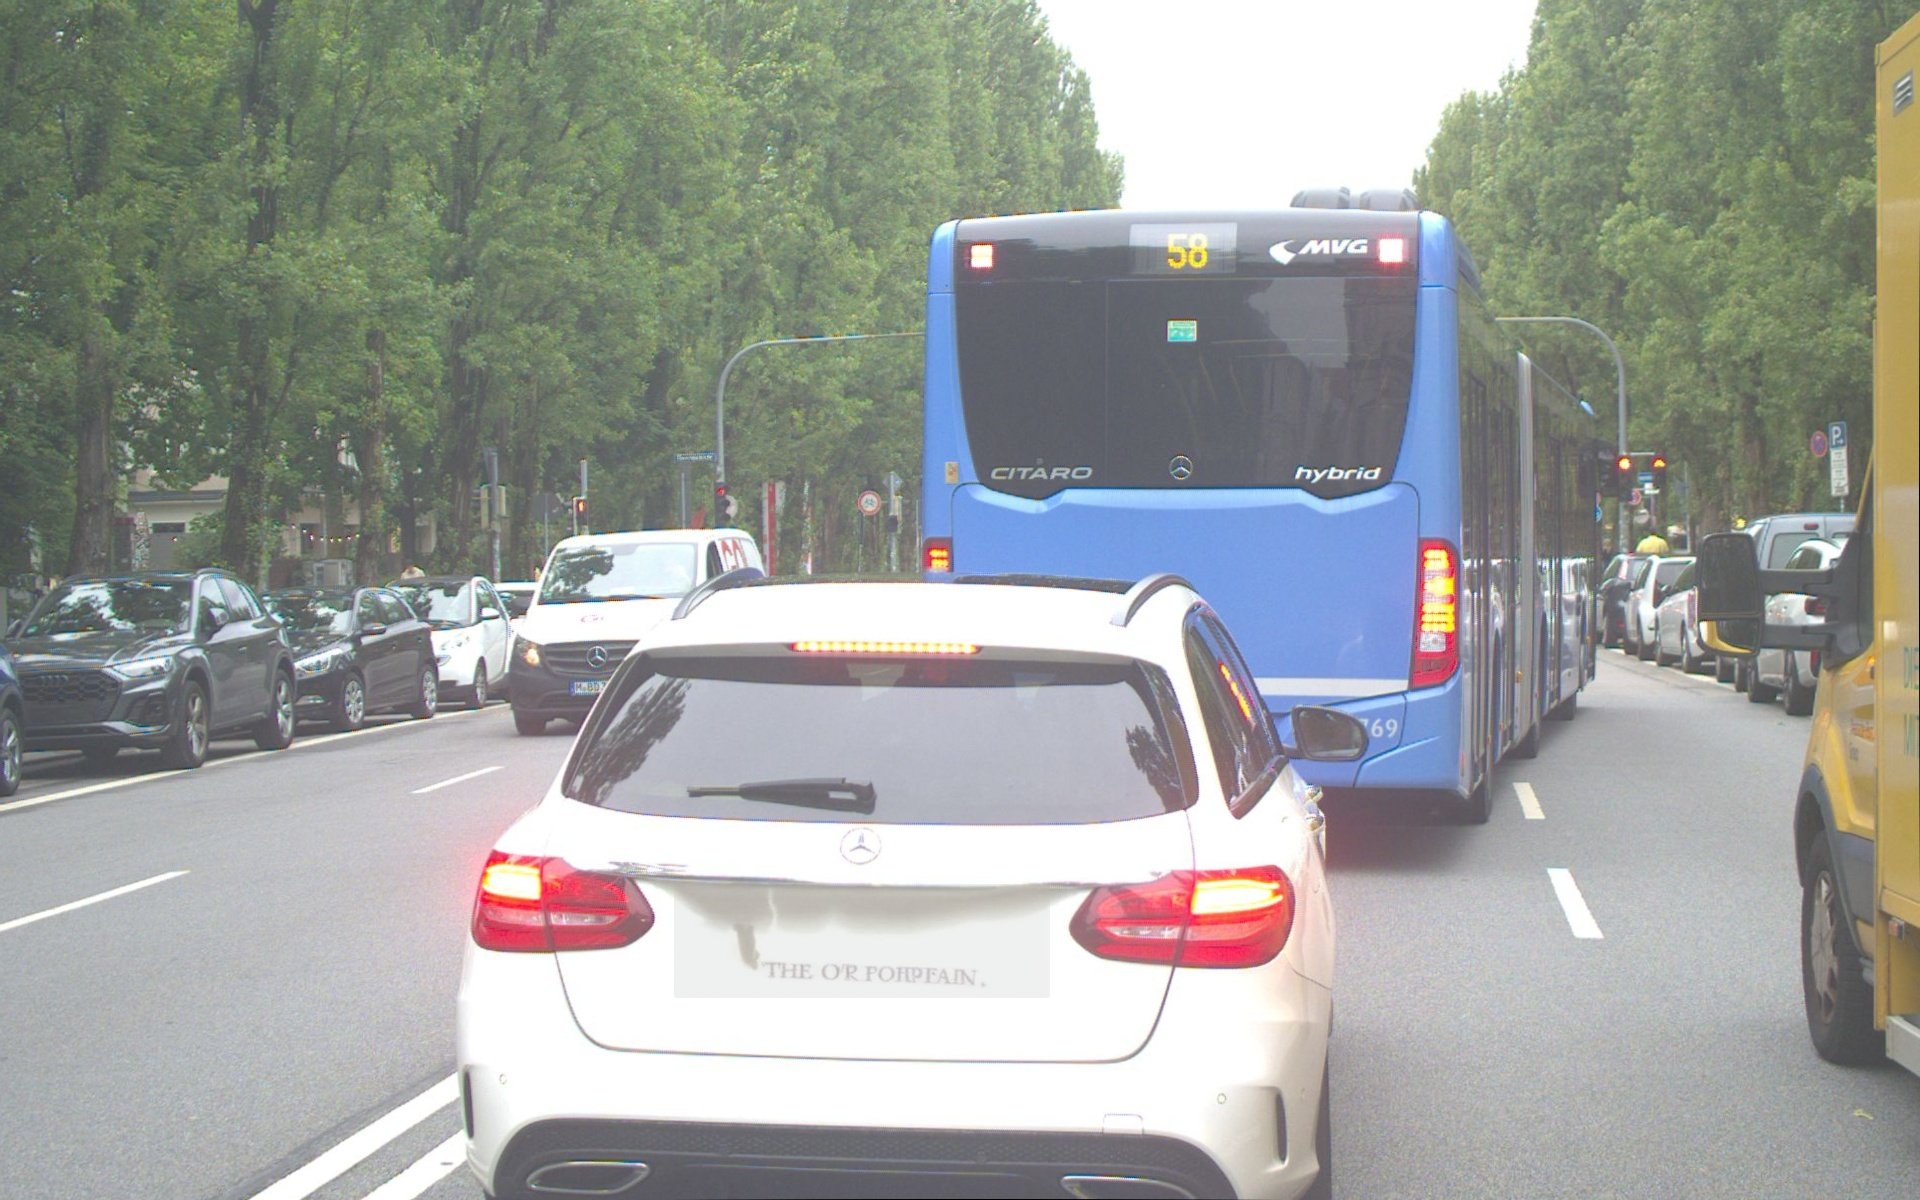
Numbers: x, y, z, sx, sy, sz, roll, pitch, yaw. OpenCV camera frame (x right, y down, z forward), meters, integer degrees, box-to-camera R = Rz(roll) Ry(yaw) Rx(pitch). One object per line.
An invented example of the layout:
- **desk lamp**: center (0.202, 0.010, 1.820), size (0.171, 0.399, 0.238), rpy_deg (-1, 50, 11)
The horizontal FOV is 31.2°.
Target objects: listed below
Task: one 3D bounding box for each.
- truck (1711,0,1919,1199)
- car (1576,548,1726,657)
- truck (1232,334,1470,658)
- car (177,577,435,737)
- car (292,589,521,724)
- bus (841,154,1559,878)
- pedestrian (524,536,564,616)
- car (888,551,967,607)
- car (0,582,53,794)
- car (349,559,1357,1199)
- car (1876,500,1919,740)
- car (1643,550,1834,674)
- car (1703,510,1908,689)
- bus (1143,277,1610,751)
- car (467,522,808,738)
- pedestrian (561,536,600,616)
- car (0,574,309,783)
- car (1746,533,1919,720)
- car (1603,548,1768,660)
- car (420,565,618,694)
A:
- **truck**: center (3.326, -0.068, 7.436), size (2.328, 2.888, 7.332), rpy_deg (-1, 1, 5)
- **car**: center (10.792, 0.013, 53.913), size (1.809, 1.612, 4.000), rpy_deg (-1, 1, 5)
- **truck**: center (5.181, -1.353, 46.984), size (2.716, 3.952, 9.217), rpy_deg (-1, 1, 4)
- **car**: center (-6.659, 0.544, 35.357), size (1.539, 1.428, 3.869), rpy_deg (-4, 0, 5)
- **car**: center (-6.365, 0.619, 39.939), size (1.675, 1.408, 3.999), rpy_deg (-1, 1, 5)
- **bus**: center (1.826, -0.451, 19.955), size (2.857, 3.202, 9.055), rpy_deg (0, 1, 12)
- **pedestrian**: center (-10.512, -0.607, 86.840), size (0.830, 2.007, 0.778), rpy_deg (-1, 1, 4)
- **car**: center (-0.891, -0.604, 96.581), size (1.822, 1.481, 3.999), rpy_deg (-1, 1, 5)
- **car**: center (-7.799, 0.683, 24.032), size (1.743, 1.513, 4.118), rpy_deg (-3, 1, 0)
- **car**: center (0.029, 0.629, 8.462), size (1.826, 1.449, 4.582), rpy_deg (0, 1, 6)
- **car**: center (7.983, 0.173, 24.911), size (1.833, 1.767, 4.230), rpy_deg (1, 1, 5)
- **car**: center (9.831, 0.119, 43.653), size (1.799, 1.470, 3.999), rpy_deg (-1, 1, 5)
- **car**: center (9.145, -0.041, 37.441), size (1.704, 1.829, 3.999), rpy_deg (1, 1, 7)
- **bus**: center (3.815, -0.671, 28.987), size (2.873, 3.292, 9.784), rpy_deg (0, 1, 13)
- **car**: center (-3.073, 0.236, 34.179), size (2.183, 1.885, 5.694), rpy_deg (-2, 1, 6)
- **pedestrian**: center (-9.600, -0.614, 86.956), size (0.830, 2.007, 0.778), rpy_deg (-1, 1, 4)
- **car**: center (-7.052, 0.623, 29.256), size (1.791, 1.542, 4.338), rpy_deg (-4, 0, 5)
- **car**: center (8.340, 0.192, 31.568), size (1.678, 1.590, 4.086), rpy_deg (1, 1, 6)
- **car**: center (10.241, 0.030, 48.780), size (1.786, 1.486, 3.999), rpy_deg (-1, 1, 5)
- **car**: center (-5.639, 0.341, 44.397), size (1.708, 1.542, 3.999), rpy_deg (-1, 1, 5)
